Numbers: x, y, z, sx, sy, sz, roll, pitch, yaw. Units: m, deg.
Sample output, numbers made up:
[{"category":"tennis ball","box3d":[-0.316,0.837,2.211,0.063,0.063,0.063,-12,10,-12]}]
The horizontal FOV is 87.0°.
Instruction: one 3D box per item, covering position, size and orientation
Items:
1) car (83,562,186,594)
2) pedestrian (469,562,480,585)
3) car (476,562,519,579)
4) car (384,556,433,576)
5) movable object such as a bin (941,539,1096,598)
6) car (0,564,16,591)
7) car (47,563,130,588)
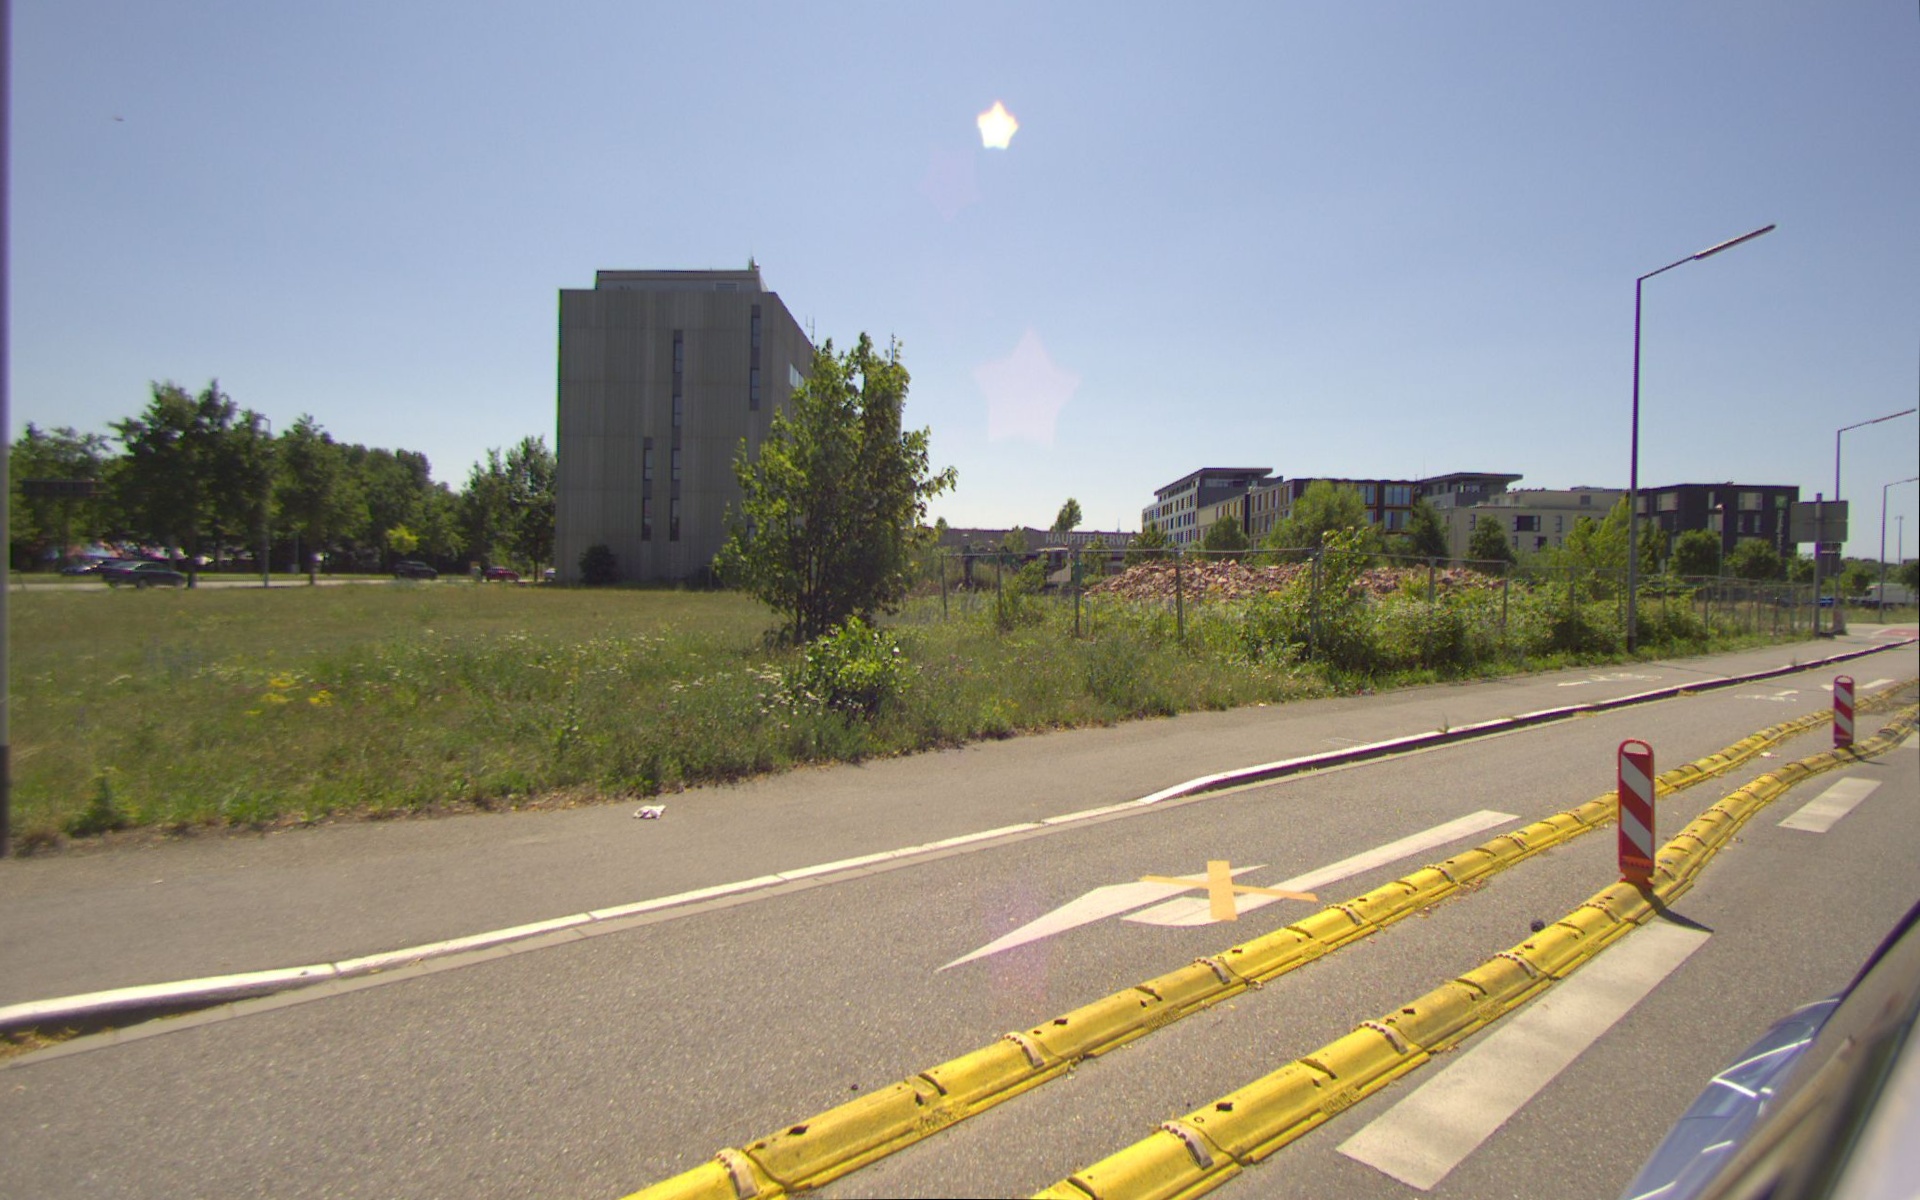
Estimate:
[{"category":"car","box3d":[-45.085,-1.188,55.400,1.963,1.615,4.418,2,1,1]},{"category":"pedestrian","box3d":[-33.860,-1.871,70.581,0.652,1.611,0.557,0,0,-15]},{"category":"car","box3d":[-44.779,-2.810,98.067,1.963,1.546,4.417,0,0,2]},{"category":"car","box3d":[-48.187,-2.971,88.548,1.961,1.615,4.422,2,1,-2]},{"category":"movable object such as a bin","box3d":[3.093,-1.600,53.286,7.537,2.952,3.242,-1,0,-26]},{"category":"car","box3d":[-59.400,-1.372,60.466,1.814,1.612,4.415,0,0,1]},{"category":"car","box3d":[-59.325,-1.660,69.003,1.814,1.612,4.443,0,0,1]}]
